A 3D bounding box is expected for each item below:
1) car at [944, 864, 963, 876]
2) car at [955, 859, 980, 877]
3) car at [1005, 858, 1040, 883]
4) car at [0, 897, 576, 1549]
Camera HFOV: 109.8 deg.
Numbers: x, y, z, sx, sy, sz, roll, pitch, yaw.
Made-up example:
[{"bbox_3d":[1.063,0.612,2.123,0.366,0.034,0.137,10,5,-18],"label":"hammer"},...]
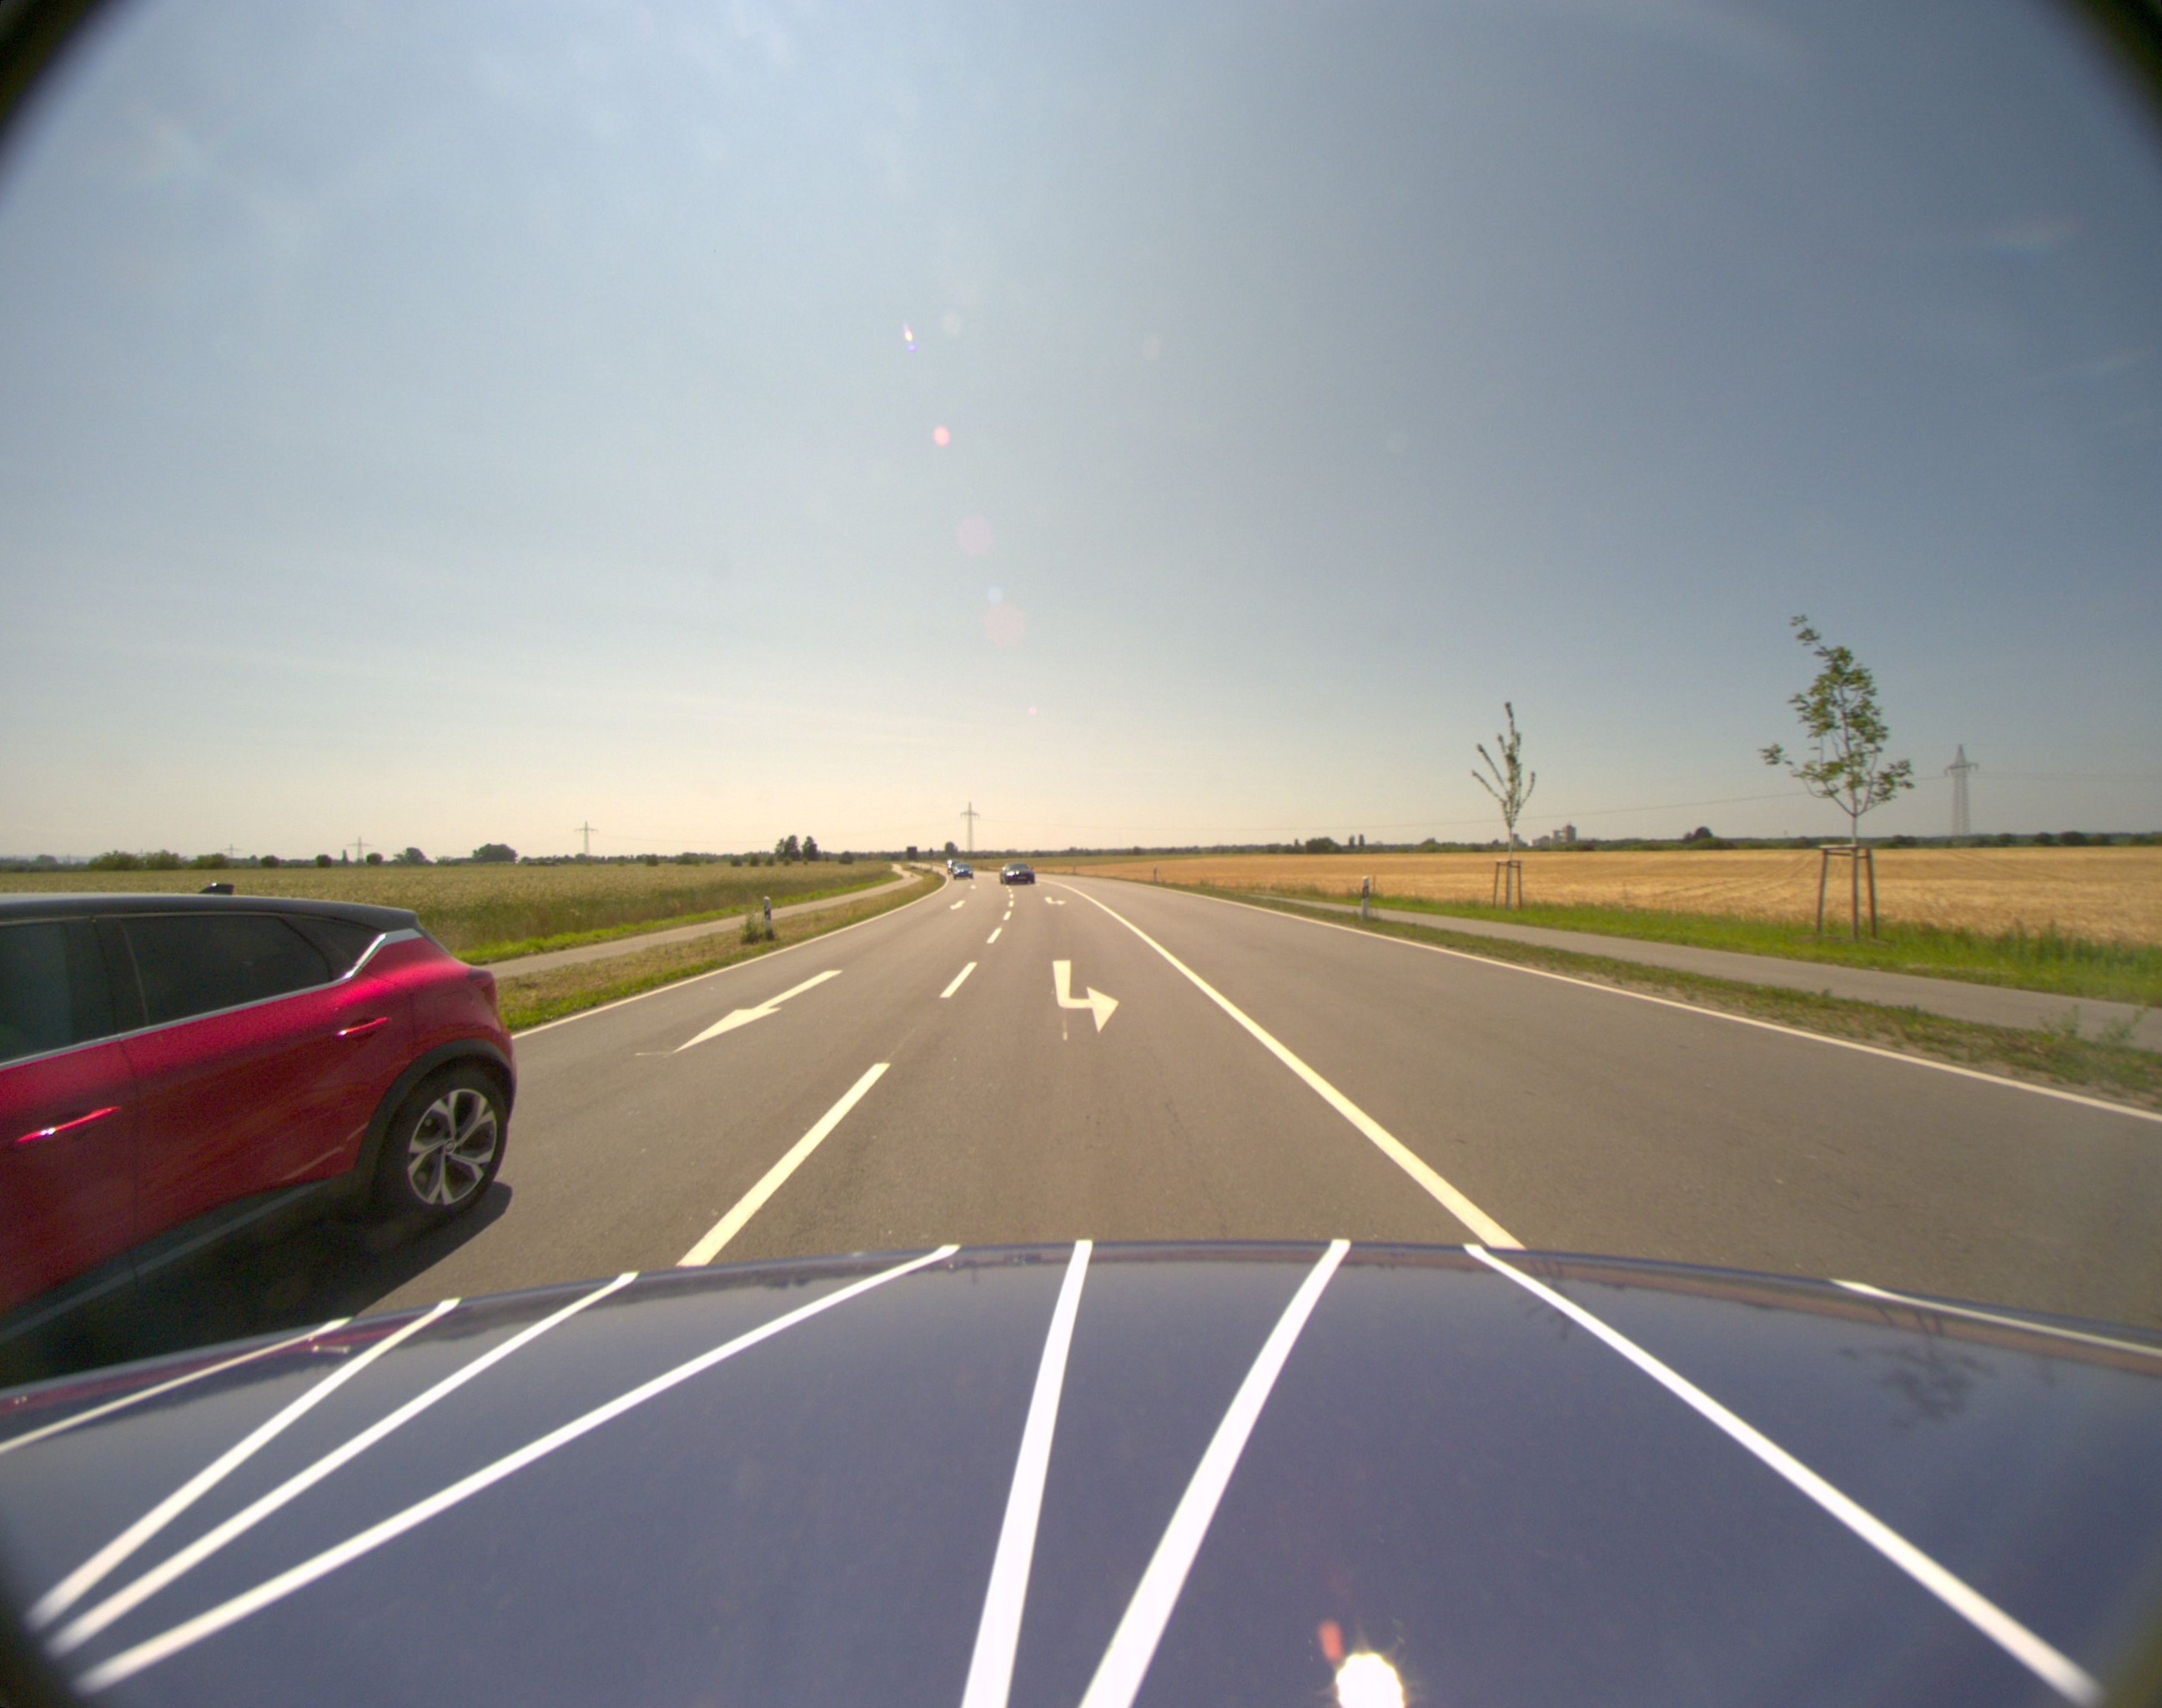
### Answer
[{"bbox_3d":[-16.493,2.046,98.488,2.191,1.458,5.010,-2,0,-8],"label":"car"},{"bbox_3d":[-10.559,1.294,70.958,2.191,1.458,5.010,-2,0,-8],"label":"car"},{"bbox_3d":[-3.918,1.084,51.024,2.190,1.458,5.011,-2,0,-5],"label":"car"},{"bbox_3d":[-3.734,1.057,2.044,1.827,1.543,4.448,-2,0,-2],"label":"car"}]
